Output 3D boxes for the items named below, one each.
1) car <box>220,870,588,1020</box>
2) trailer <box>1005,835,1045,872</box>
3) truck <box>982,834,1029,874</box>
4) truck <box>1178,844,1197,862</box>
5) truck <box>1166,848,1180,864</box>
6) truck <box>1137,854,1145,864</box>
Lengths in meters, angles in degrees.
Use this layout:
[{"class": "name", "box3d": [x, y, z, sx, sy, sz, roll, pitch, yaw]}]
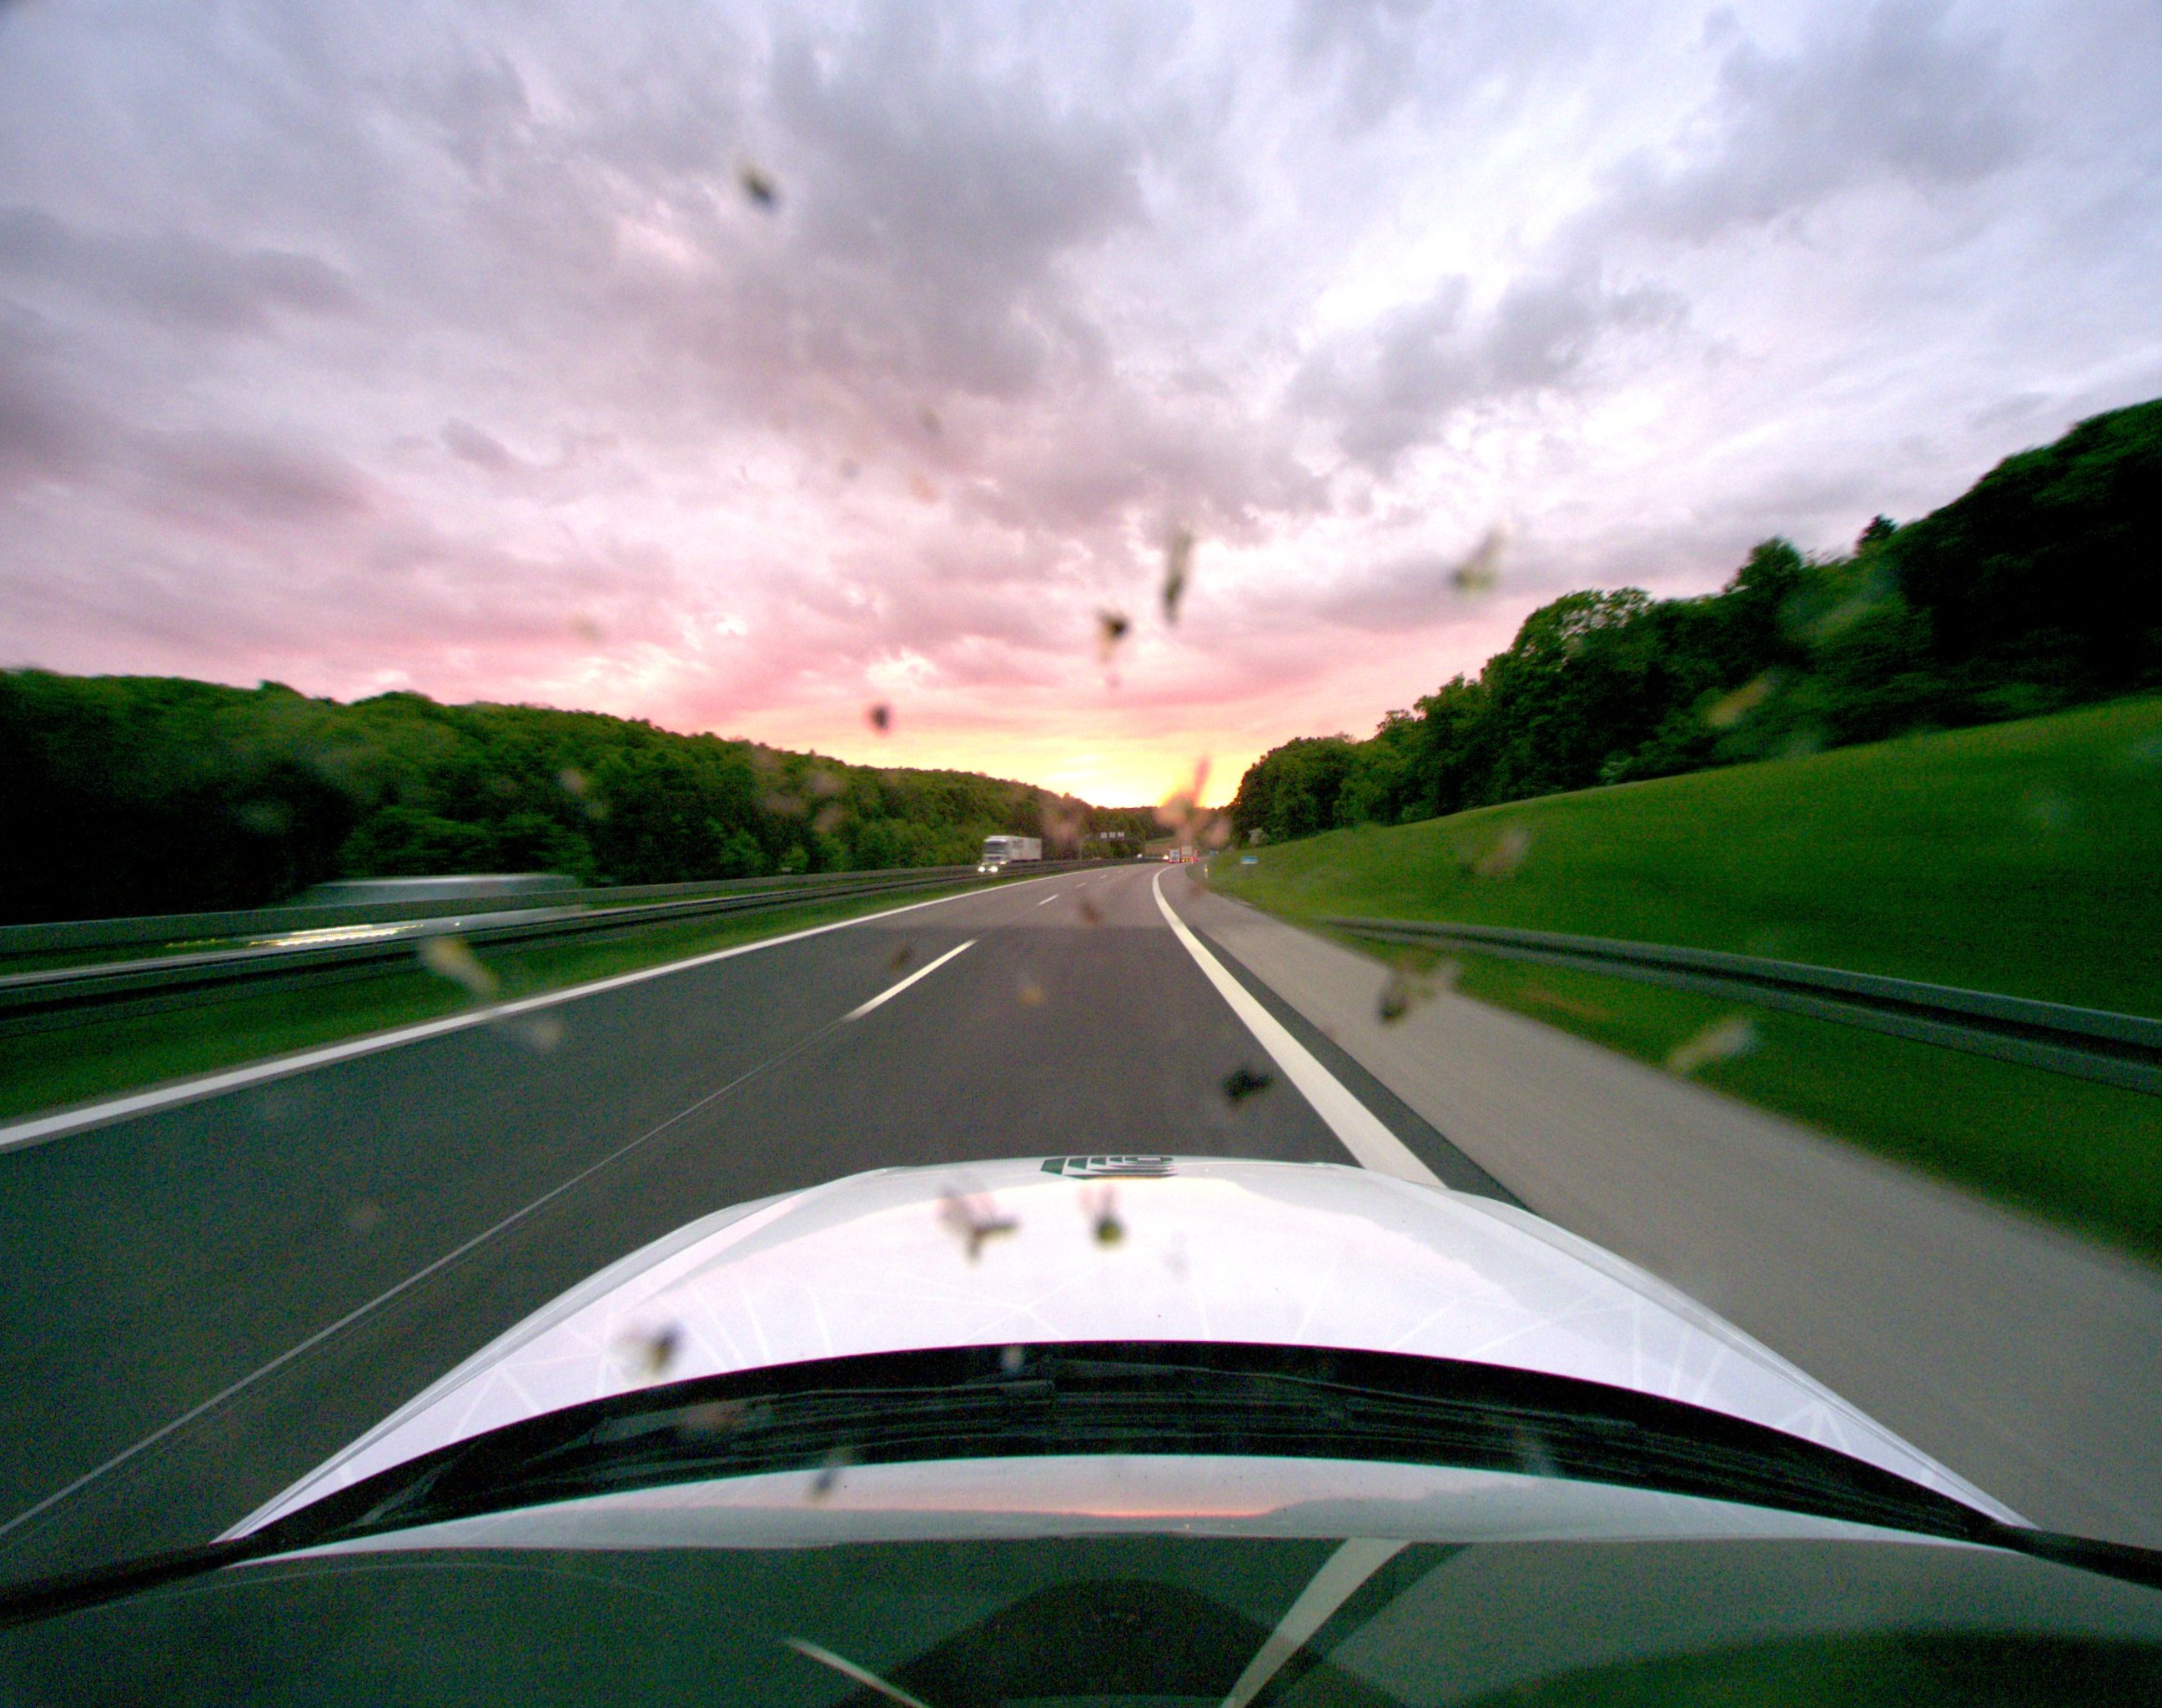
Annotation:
[{"class": "car", "box3d": [-11.522, 1.392, 14.548, 1.985, 2.013, 5.173, -3, 0, 3]}, {"class": "trailer", "box3d": [-6.954, -0.074, 102.539, 2.815, 4.317, 9.317, -2, 0, 9]}, {"class": "truck", "box3d": [-8.488, -0.039, 92.946, 2.848, 4.281, 10.091, -2, 0, 9]}, {"class": "truck", "box3d": [27.405, -0.428, 209.349, 3.934, 4.286, 14.364, -3, 0, 10]}, {"class": "truck", "box3d": [17.481, 0.359, 154.654, 2.263, 2.664, 5.250, -3, 2, 9]}, {"class": "truck", "box3d": [18.923, 1.618, 258.313, 1.982, 3.067, 5.608, -2, 0, 9]}]
